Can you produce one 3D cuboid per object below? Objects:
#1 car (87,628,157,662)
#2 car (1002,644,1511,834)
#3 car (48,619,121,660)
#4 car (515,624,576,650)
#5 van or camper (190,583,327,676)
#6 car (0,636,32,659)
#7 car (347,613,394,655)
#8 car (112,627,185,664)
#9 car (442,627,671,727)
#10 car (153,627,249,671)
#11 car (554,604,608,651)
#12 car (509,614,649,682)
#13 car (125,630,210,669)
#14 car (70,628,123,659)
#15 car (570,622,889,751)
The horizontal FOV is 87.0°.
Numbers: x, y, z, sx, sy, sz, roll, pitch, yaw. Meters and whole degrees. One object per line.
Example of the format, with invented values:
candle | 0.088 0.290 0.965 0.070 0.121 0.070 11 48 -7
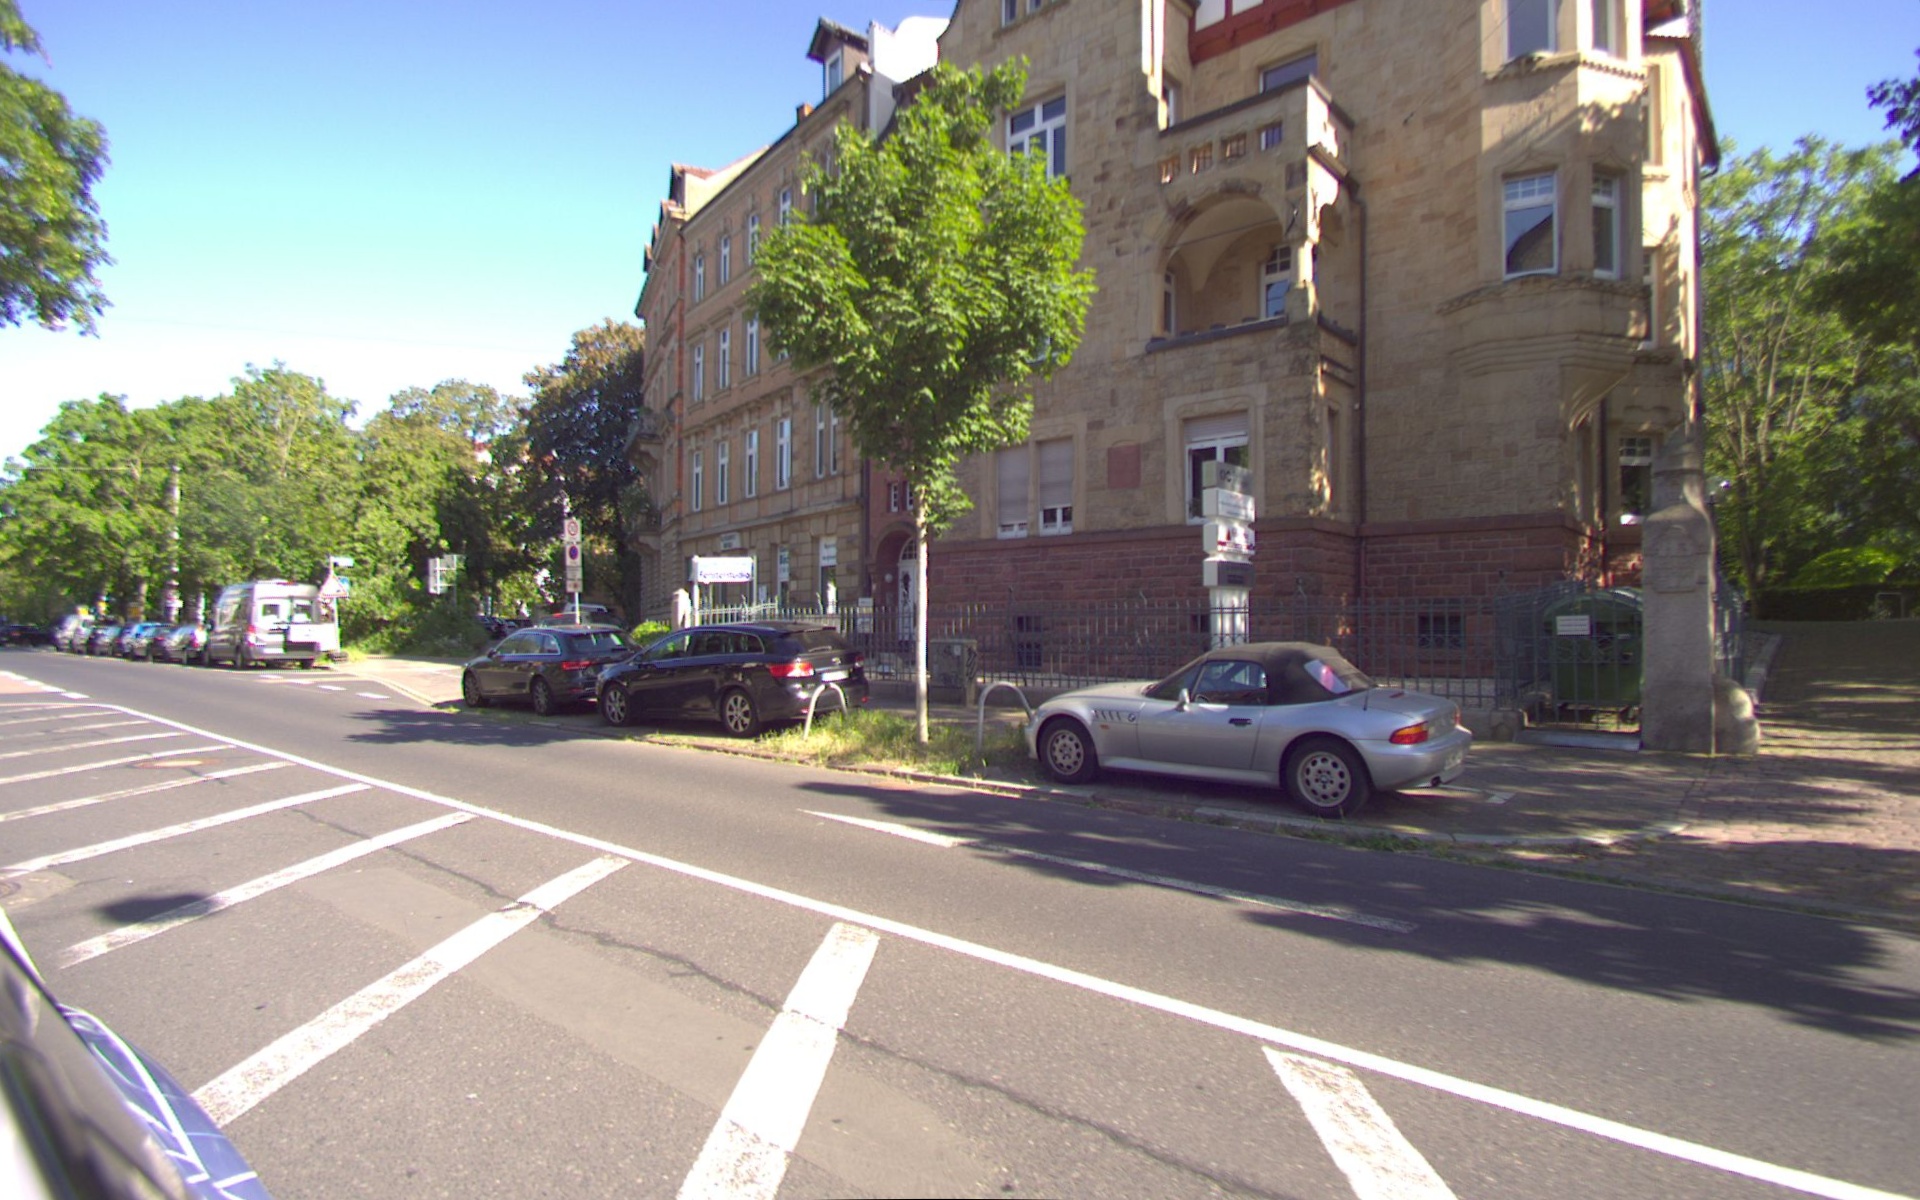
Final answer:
car | -39.133 2.085 47.215 4.266 1.493 1.575 -1 -4 38
car | 2.450 1.049 8.981 4.013 1.265 1.660 -2 -2 42
car | -47.481 2.157 54.865 4.867 2.052 1.965 -2 -5 37
car | -33.463 2.991 81.670 4.374 1.928 1.871 3 -2 -26
van or camper | -22.928 1.003 32.967 6.085 2.760 2.193 -2 -3 41
car | -62.915 3.139 67.082 4.131 1.461 1.576 -2 -3 41
car | -29.617 1.680 50.789 1.833 1.928 4.465 3 -2 -32
car | -35.413 1.944 44.131 4.558 1.550 1.761 -1 -2 42
car | -7.255 1.266 17.945 4.718 1.438 1.836 -2 1 42
car | -27.370 1.777 36.452 4.659 1.468 1.676 -2 -5 40
car | -16.935 1.201 45.111 1.833 1.928 4.466 3 -2 -24
car | -10.754 1.309 28.897 1.977 1.683 4.134 -3 0 8
car | -30.890 1.934 39.401 4.403 1.424 1.762 -2 -5 41
car | -43.949 2.211 51.499 3.957 1.513 1.448 -1 -4 41
car | -3.420 1.136 14.559 4.697 1.505 1.839 -2 0 37
